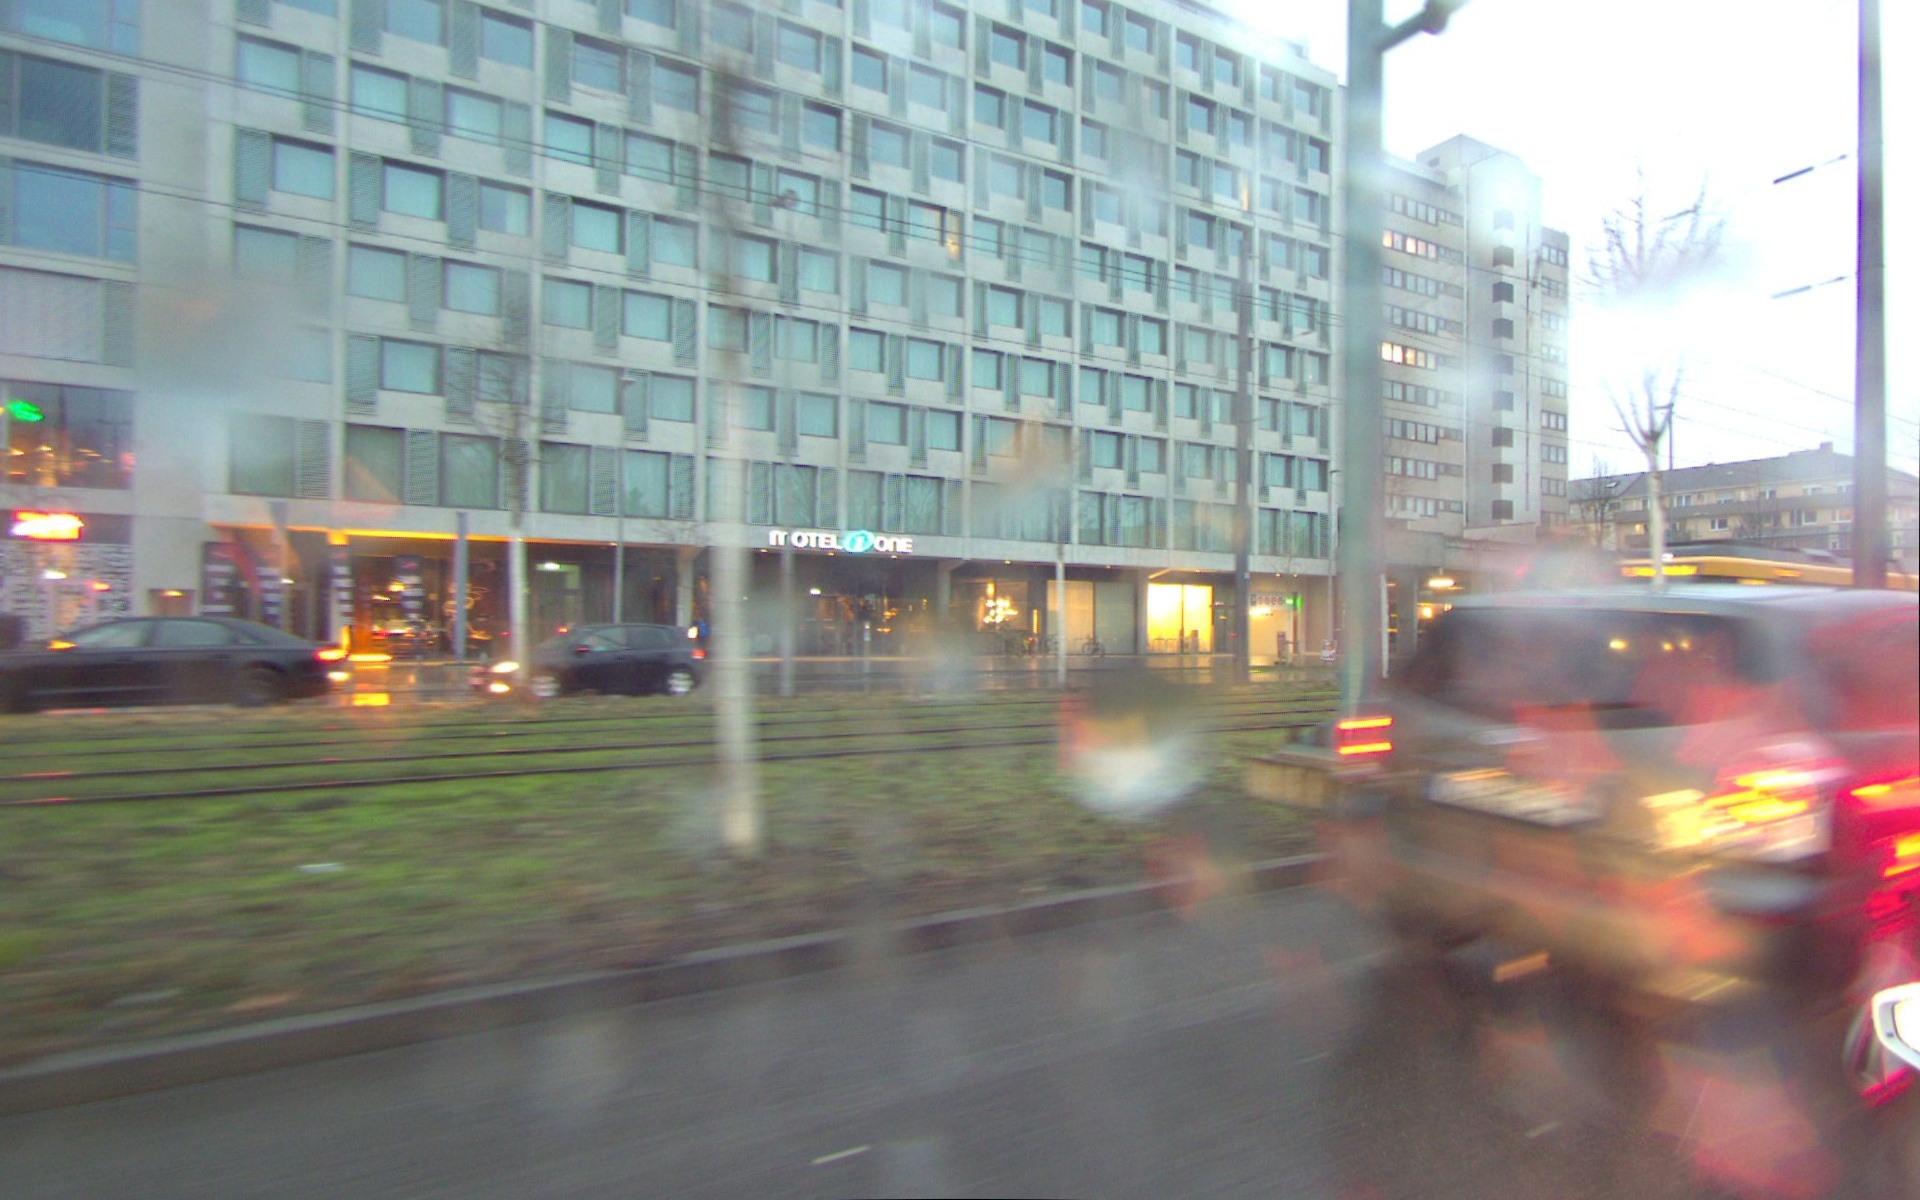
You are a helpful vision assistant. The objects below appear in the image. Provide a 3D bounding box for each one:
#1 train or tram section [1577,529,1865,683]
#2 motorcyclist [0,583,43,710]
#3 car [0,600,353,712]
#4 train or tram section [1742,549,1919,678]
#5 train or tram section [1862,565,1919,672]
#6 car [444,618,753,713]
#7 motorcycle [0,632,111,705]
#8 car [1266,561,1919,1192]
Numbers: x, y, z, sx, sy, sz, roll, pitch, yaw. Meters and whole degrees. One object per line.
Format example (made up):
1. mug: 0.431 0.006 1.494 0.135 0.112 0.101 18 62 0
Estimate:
1. train or tram section: 20.256 0.295 26.557 9.051 3.550 2.829 2 -2 -31
2. motorcyclist: -14.850 0.687 15.360 1.021 1.910 0.867 1 0 -30
3. car: -12.109 0.794 15.094 5.035 1.481 1.984 2 0 -30
4. train or tram section: 28.055 0.527 31.177 9.051 3.550 2.829 2 -2 -31
5. train or tram section: 35.840 0.738 35.815 9.051 3.550 2.829 2 -2 -31
6. car: -6.565 1.130 18.716 5.061 1.481 1.974 2 0 -45
7. motorcycle: -14.951 1.037 15.310 2.932 1.071 0.866 2 0 -30
8. car: 3.398 0.752 4.337 3.953 1.615 1.751 2 0 -30
